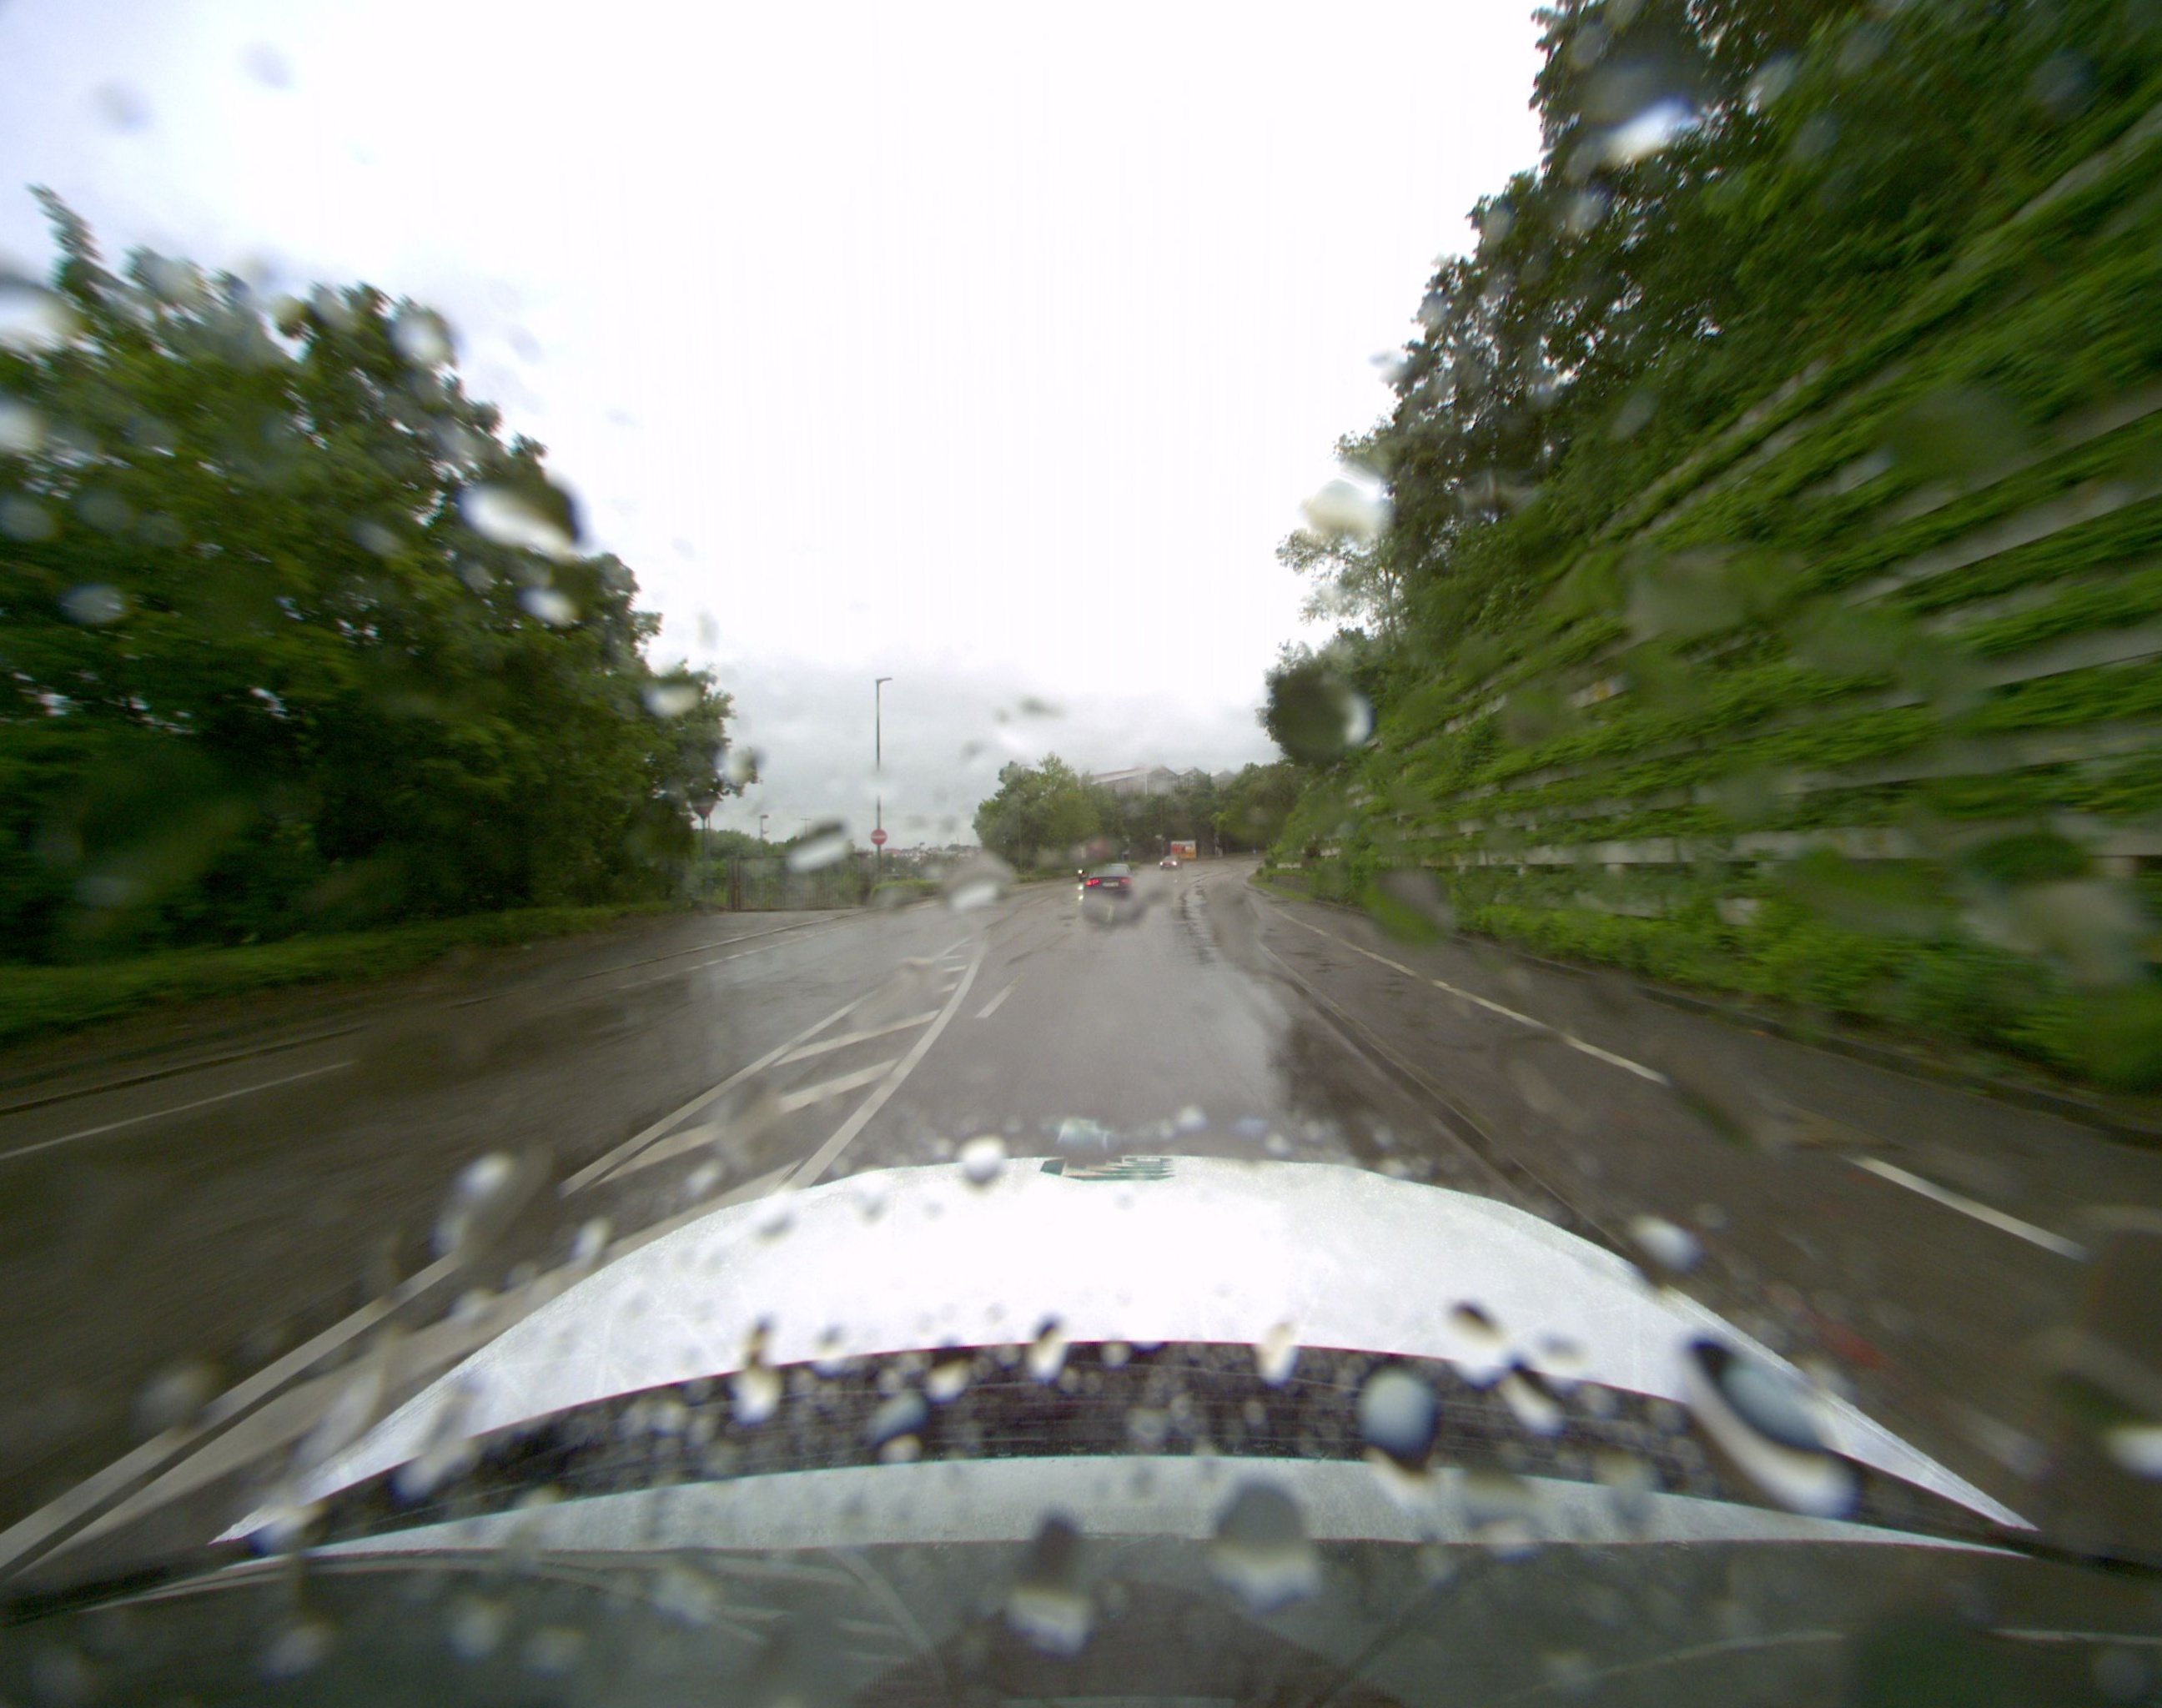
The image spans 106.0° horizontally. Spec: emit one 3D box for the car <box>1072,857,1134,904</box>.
[{"bbox_3d":[0.808,0.845,27.246,1.746,1.395,4.006,-1,0,6],"label":"car"}]

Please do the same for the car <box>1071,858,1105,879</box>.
[{"bbox_3d":[0.488,1.047,59.344,1.723,1.462,4.528,1,-1,-9],"label":"car"}]

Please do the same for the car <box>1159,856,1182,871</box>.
[{"bbox_3d":[9.686,1.010,87.964,1.740,1.535,4.018,-1,0,17],"label":"car"}]
